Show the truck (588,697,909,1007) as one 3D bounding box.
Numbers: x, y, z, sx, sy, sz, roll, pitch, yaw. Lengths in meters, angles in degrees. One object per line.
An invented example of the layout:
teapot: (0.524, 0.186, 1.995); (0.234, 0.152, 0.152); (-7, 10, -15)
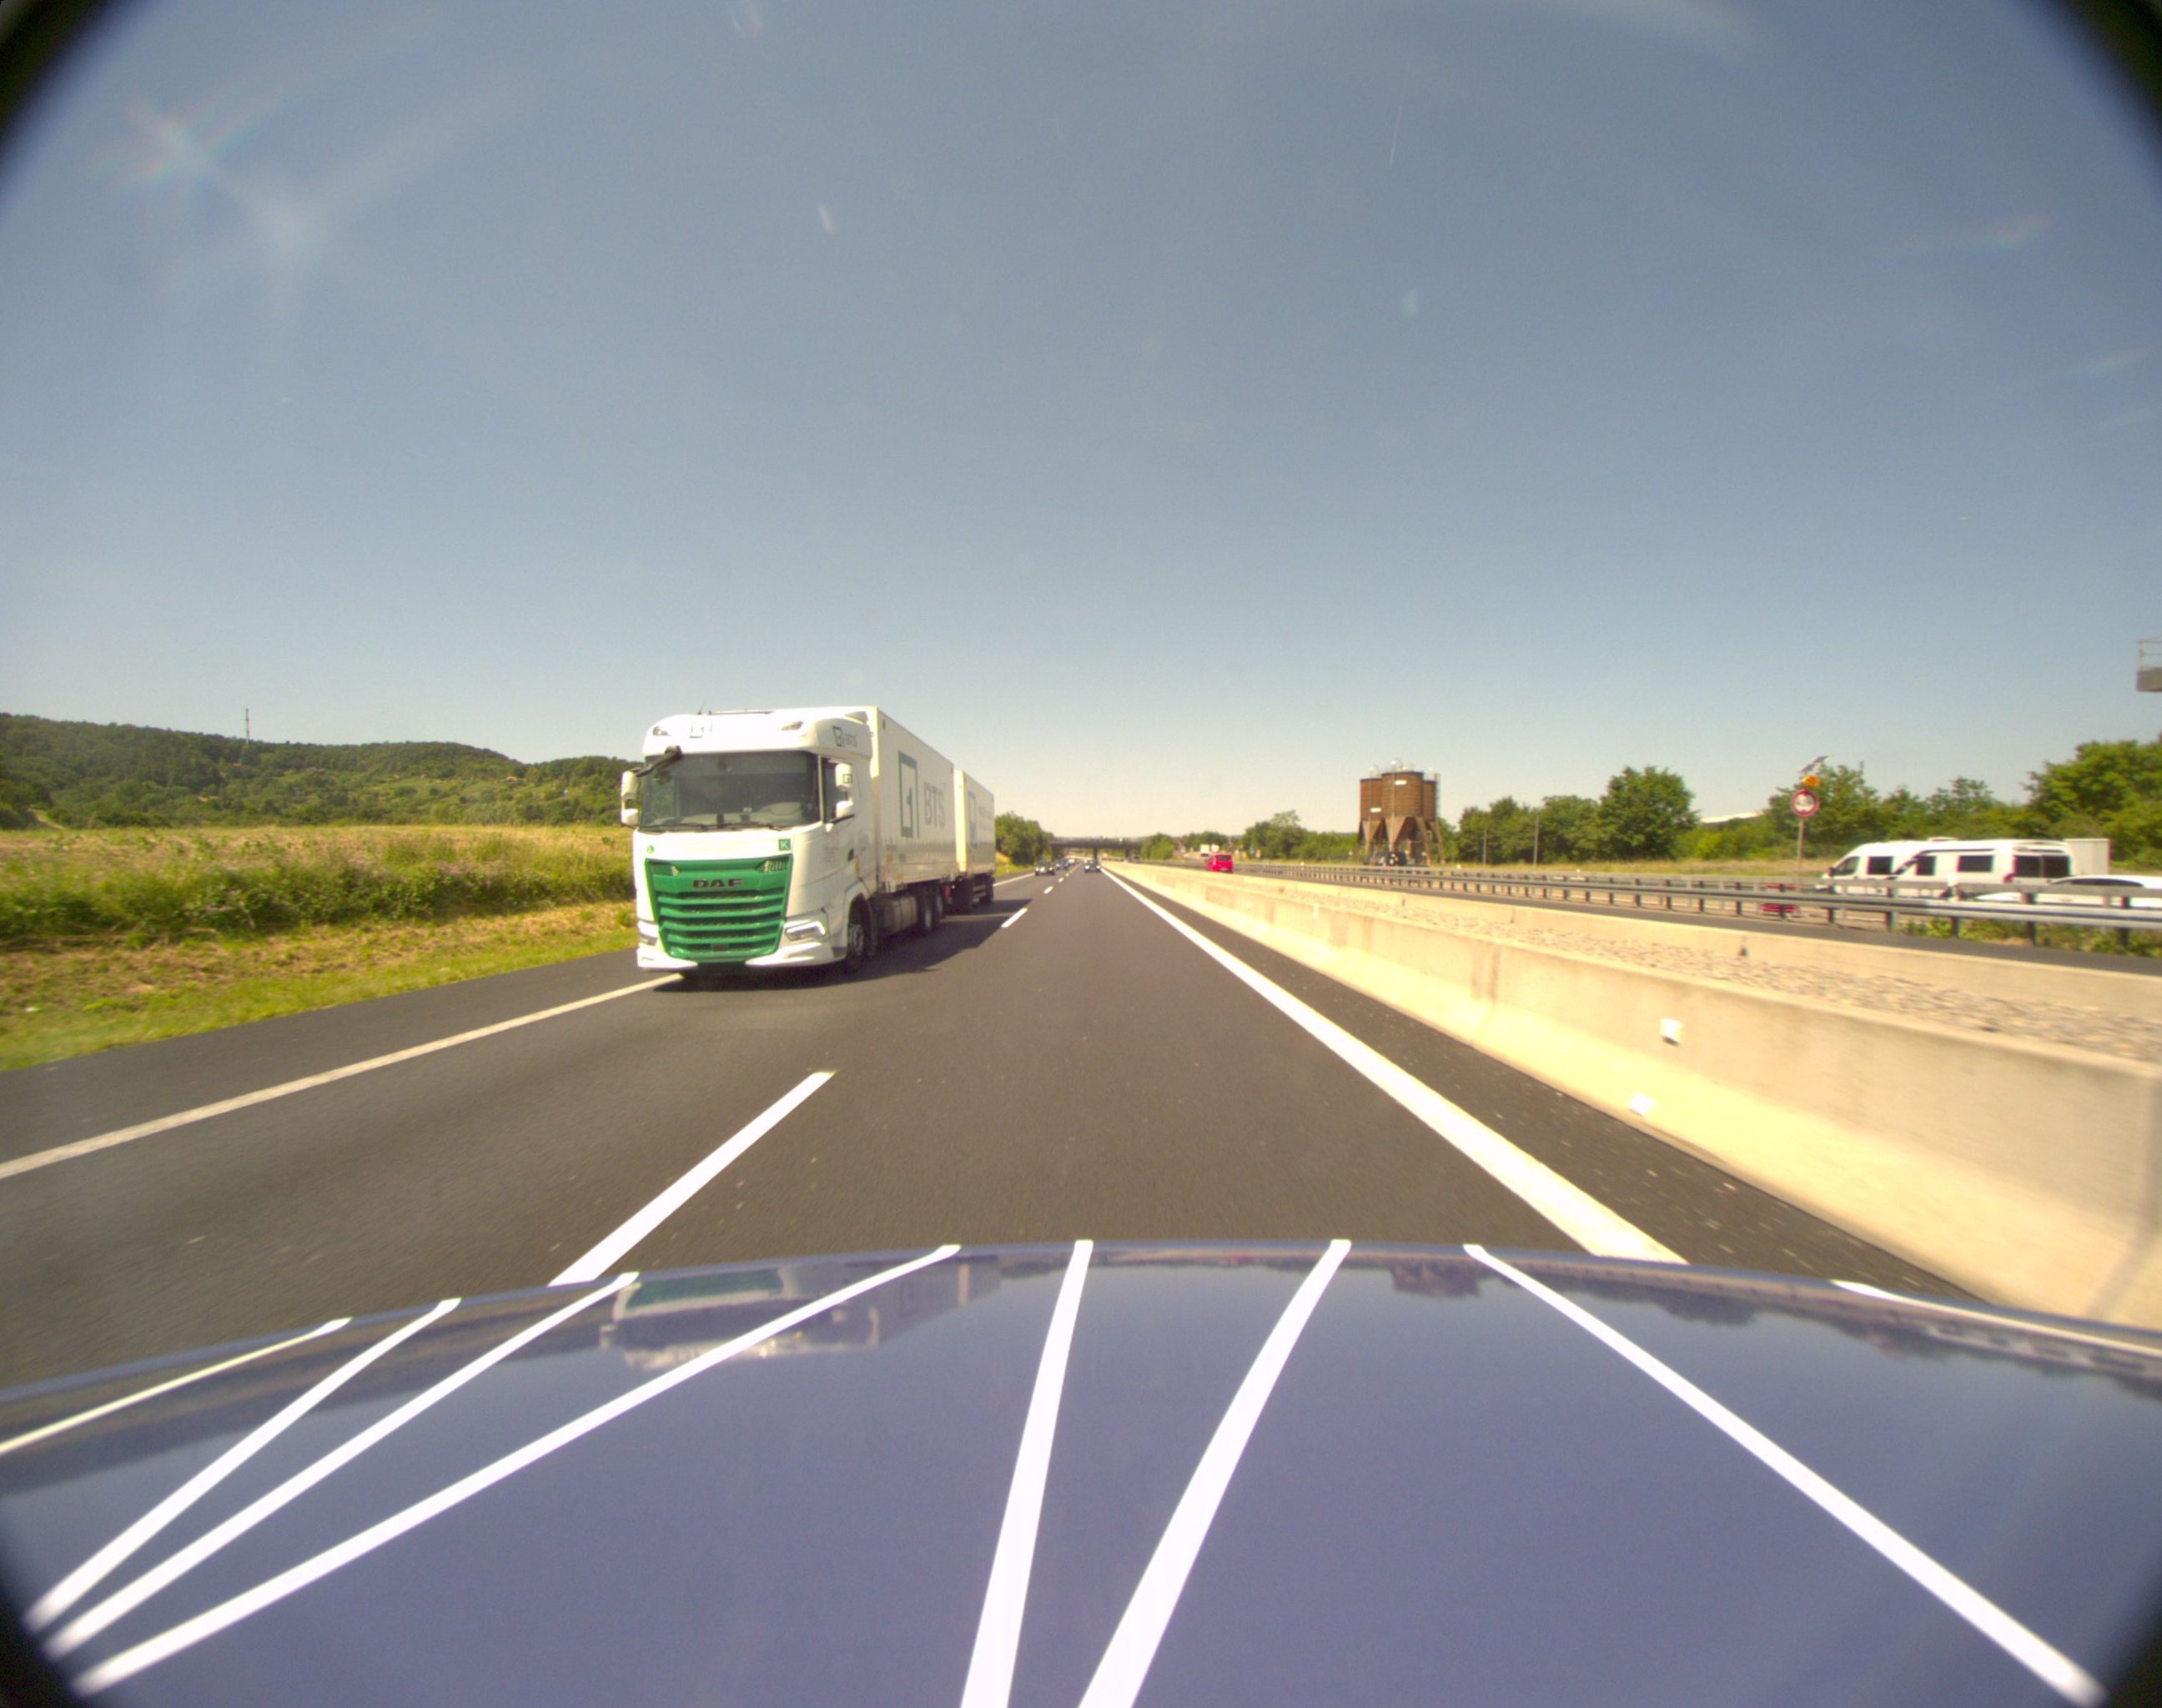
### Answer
truck: (-4.428, -0.041, 11.213); (2.649, 3.572, 4.403); (-2, 1, 0)

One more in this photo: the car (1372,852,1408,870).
car: (28.888, 0.619, 71.191); (1.799, 1.501, 3.999); (-2, 1, 1)

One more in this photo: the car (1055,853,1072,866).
car: (-2.392, 0.730, 104.126); (1.998, 1.574, 4.000); (-3, 0, 2)

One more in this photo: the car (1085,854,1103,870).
car: (1.412, 0.826, 81.822); (1.799, 1.574, 3.999); (-2, 1, 0)

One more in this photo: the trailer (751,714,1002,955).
trailer: (-4.385, -0.374, 20.906); (2.663, 4.164, 14.893); (-2, 0, 0)

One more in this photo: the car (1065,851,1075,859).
car: (-2.419, 0.268, 168.229); (1.998, 1.574, 4.000); (-3, 0, 2)

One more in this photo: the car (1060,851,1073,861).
car: (-2.650, 0.347, 139.379); (1.998, 1.574, 4.000); (-3, 0, 2)

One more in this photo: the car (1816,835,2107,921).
car: (28.850, 0.716, 25.395); (2.803, 2.487, 5.963); (1, 0, 1)

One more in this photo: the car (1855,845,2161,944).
car: (24.723, 0.885, 19.569); (2.502, 2.153, 6.935); (1, 0, 1)

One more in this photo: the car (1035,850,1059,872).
car: (-3.241, 0.623, 73.484); (1.998, 2.002, 3.999); (-2, 1, 1)
